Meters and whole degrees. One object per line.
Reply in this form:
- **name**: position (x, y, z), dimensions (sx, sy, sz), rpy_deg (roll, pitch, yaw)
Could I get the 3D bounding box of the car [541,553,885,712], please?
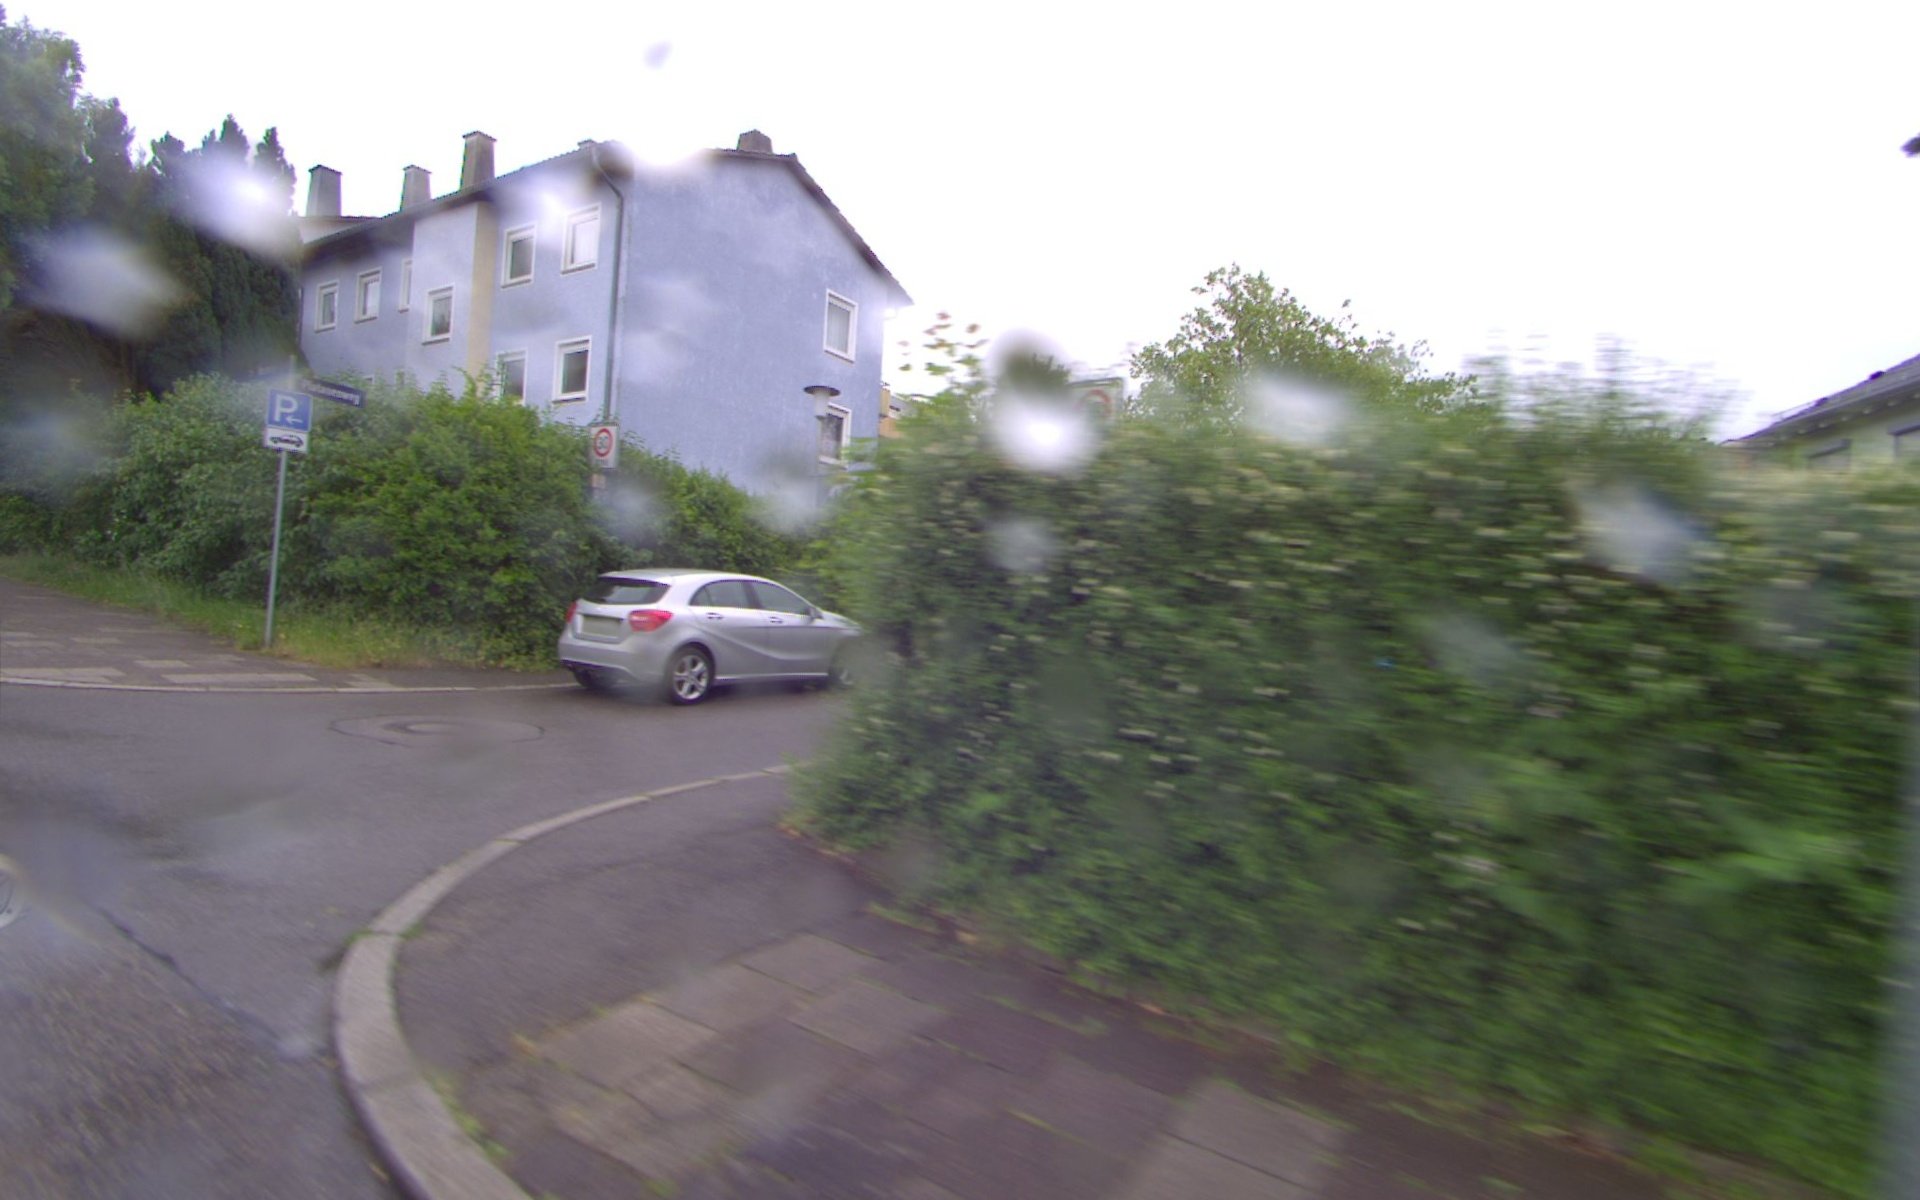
- **car**: position (-2.835, 0.335, 12.370), dimensions (1.672, 1.509, 3.984), rpy_deg (7, 3, 33)
